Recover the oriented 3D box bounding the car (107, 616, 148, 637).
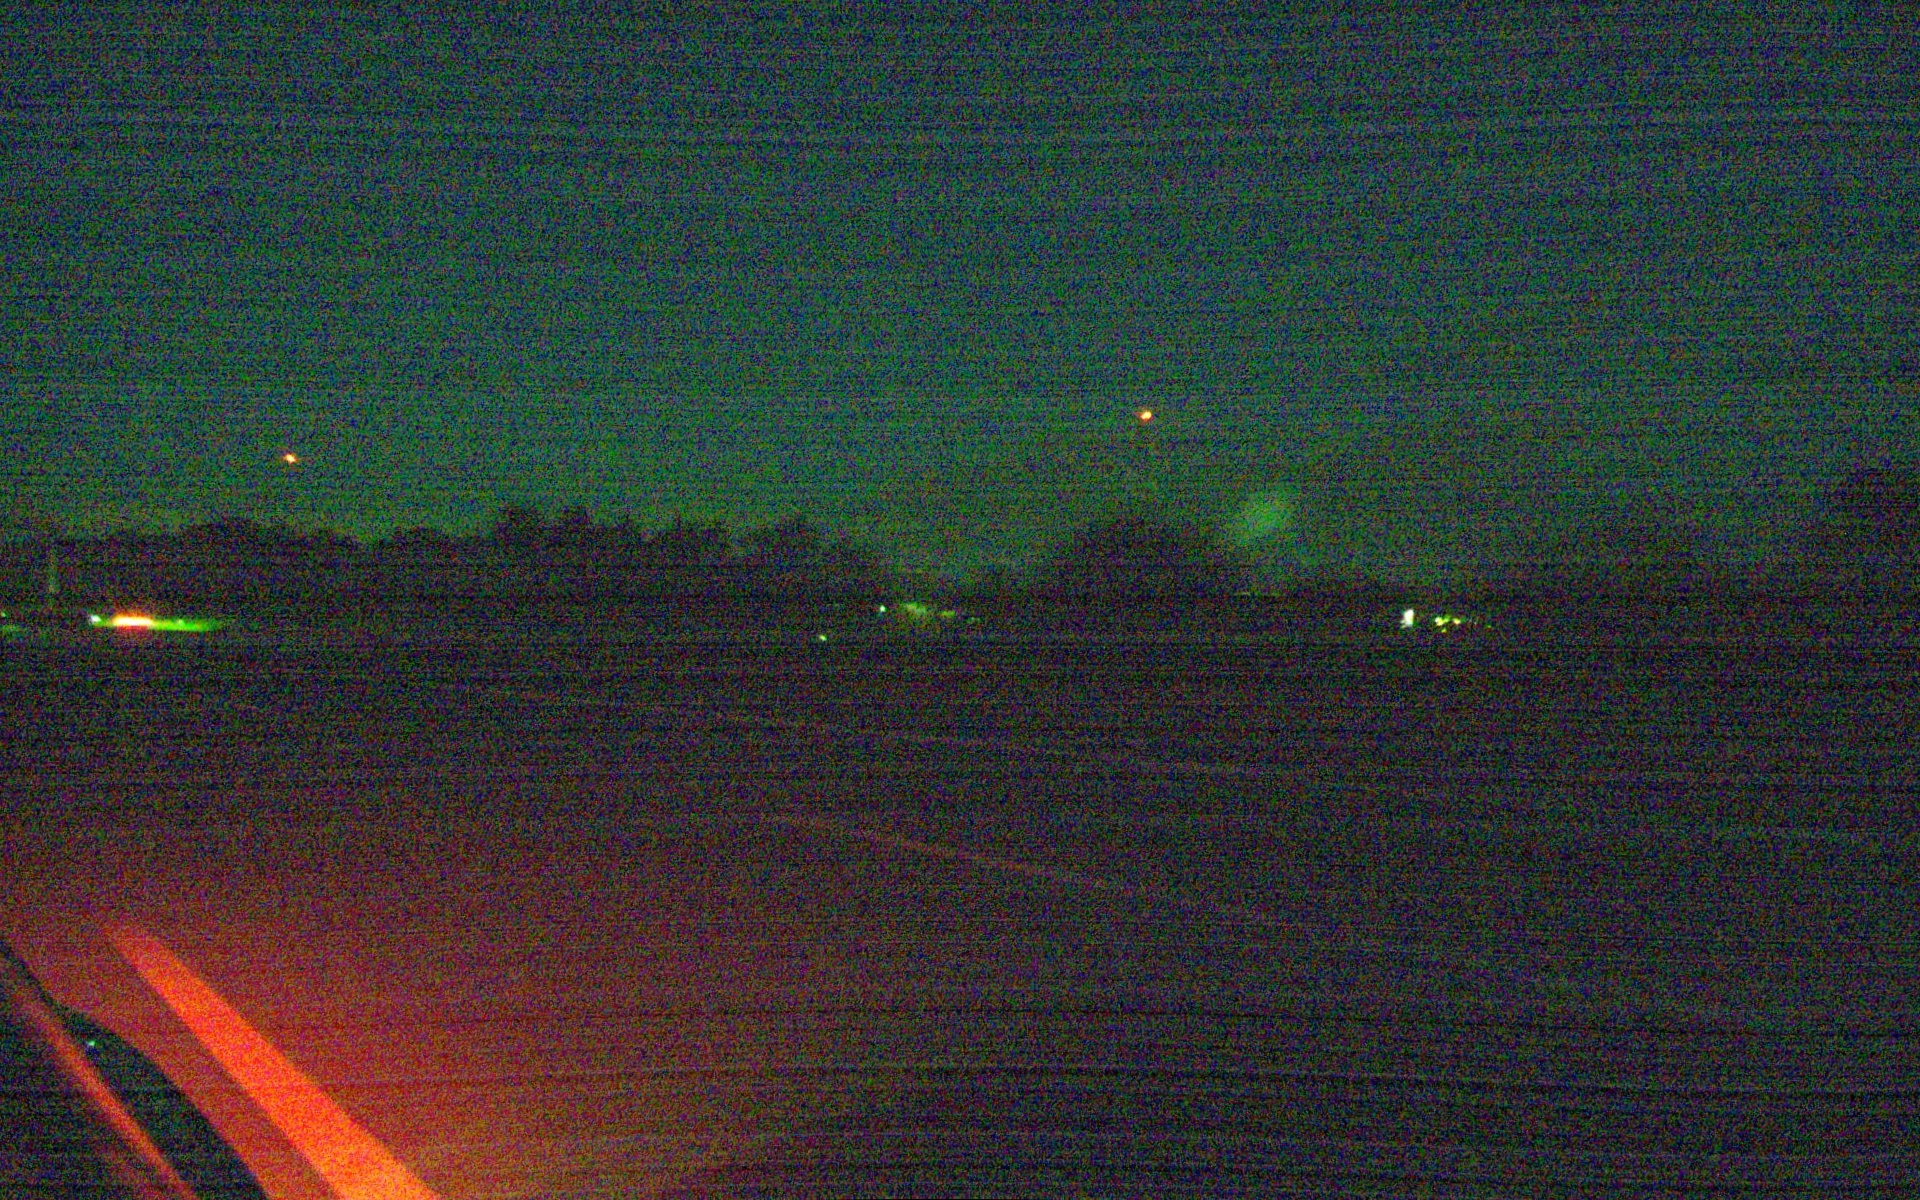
[{"bbox_3d":[-72.138,2.244,87.692,5.069,1.758,1.973,-1,0,41],"label":"car"}]
